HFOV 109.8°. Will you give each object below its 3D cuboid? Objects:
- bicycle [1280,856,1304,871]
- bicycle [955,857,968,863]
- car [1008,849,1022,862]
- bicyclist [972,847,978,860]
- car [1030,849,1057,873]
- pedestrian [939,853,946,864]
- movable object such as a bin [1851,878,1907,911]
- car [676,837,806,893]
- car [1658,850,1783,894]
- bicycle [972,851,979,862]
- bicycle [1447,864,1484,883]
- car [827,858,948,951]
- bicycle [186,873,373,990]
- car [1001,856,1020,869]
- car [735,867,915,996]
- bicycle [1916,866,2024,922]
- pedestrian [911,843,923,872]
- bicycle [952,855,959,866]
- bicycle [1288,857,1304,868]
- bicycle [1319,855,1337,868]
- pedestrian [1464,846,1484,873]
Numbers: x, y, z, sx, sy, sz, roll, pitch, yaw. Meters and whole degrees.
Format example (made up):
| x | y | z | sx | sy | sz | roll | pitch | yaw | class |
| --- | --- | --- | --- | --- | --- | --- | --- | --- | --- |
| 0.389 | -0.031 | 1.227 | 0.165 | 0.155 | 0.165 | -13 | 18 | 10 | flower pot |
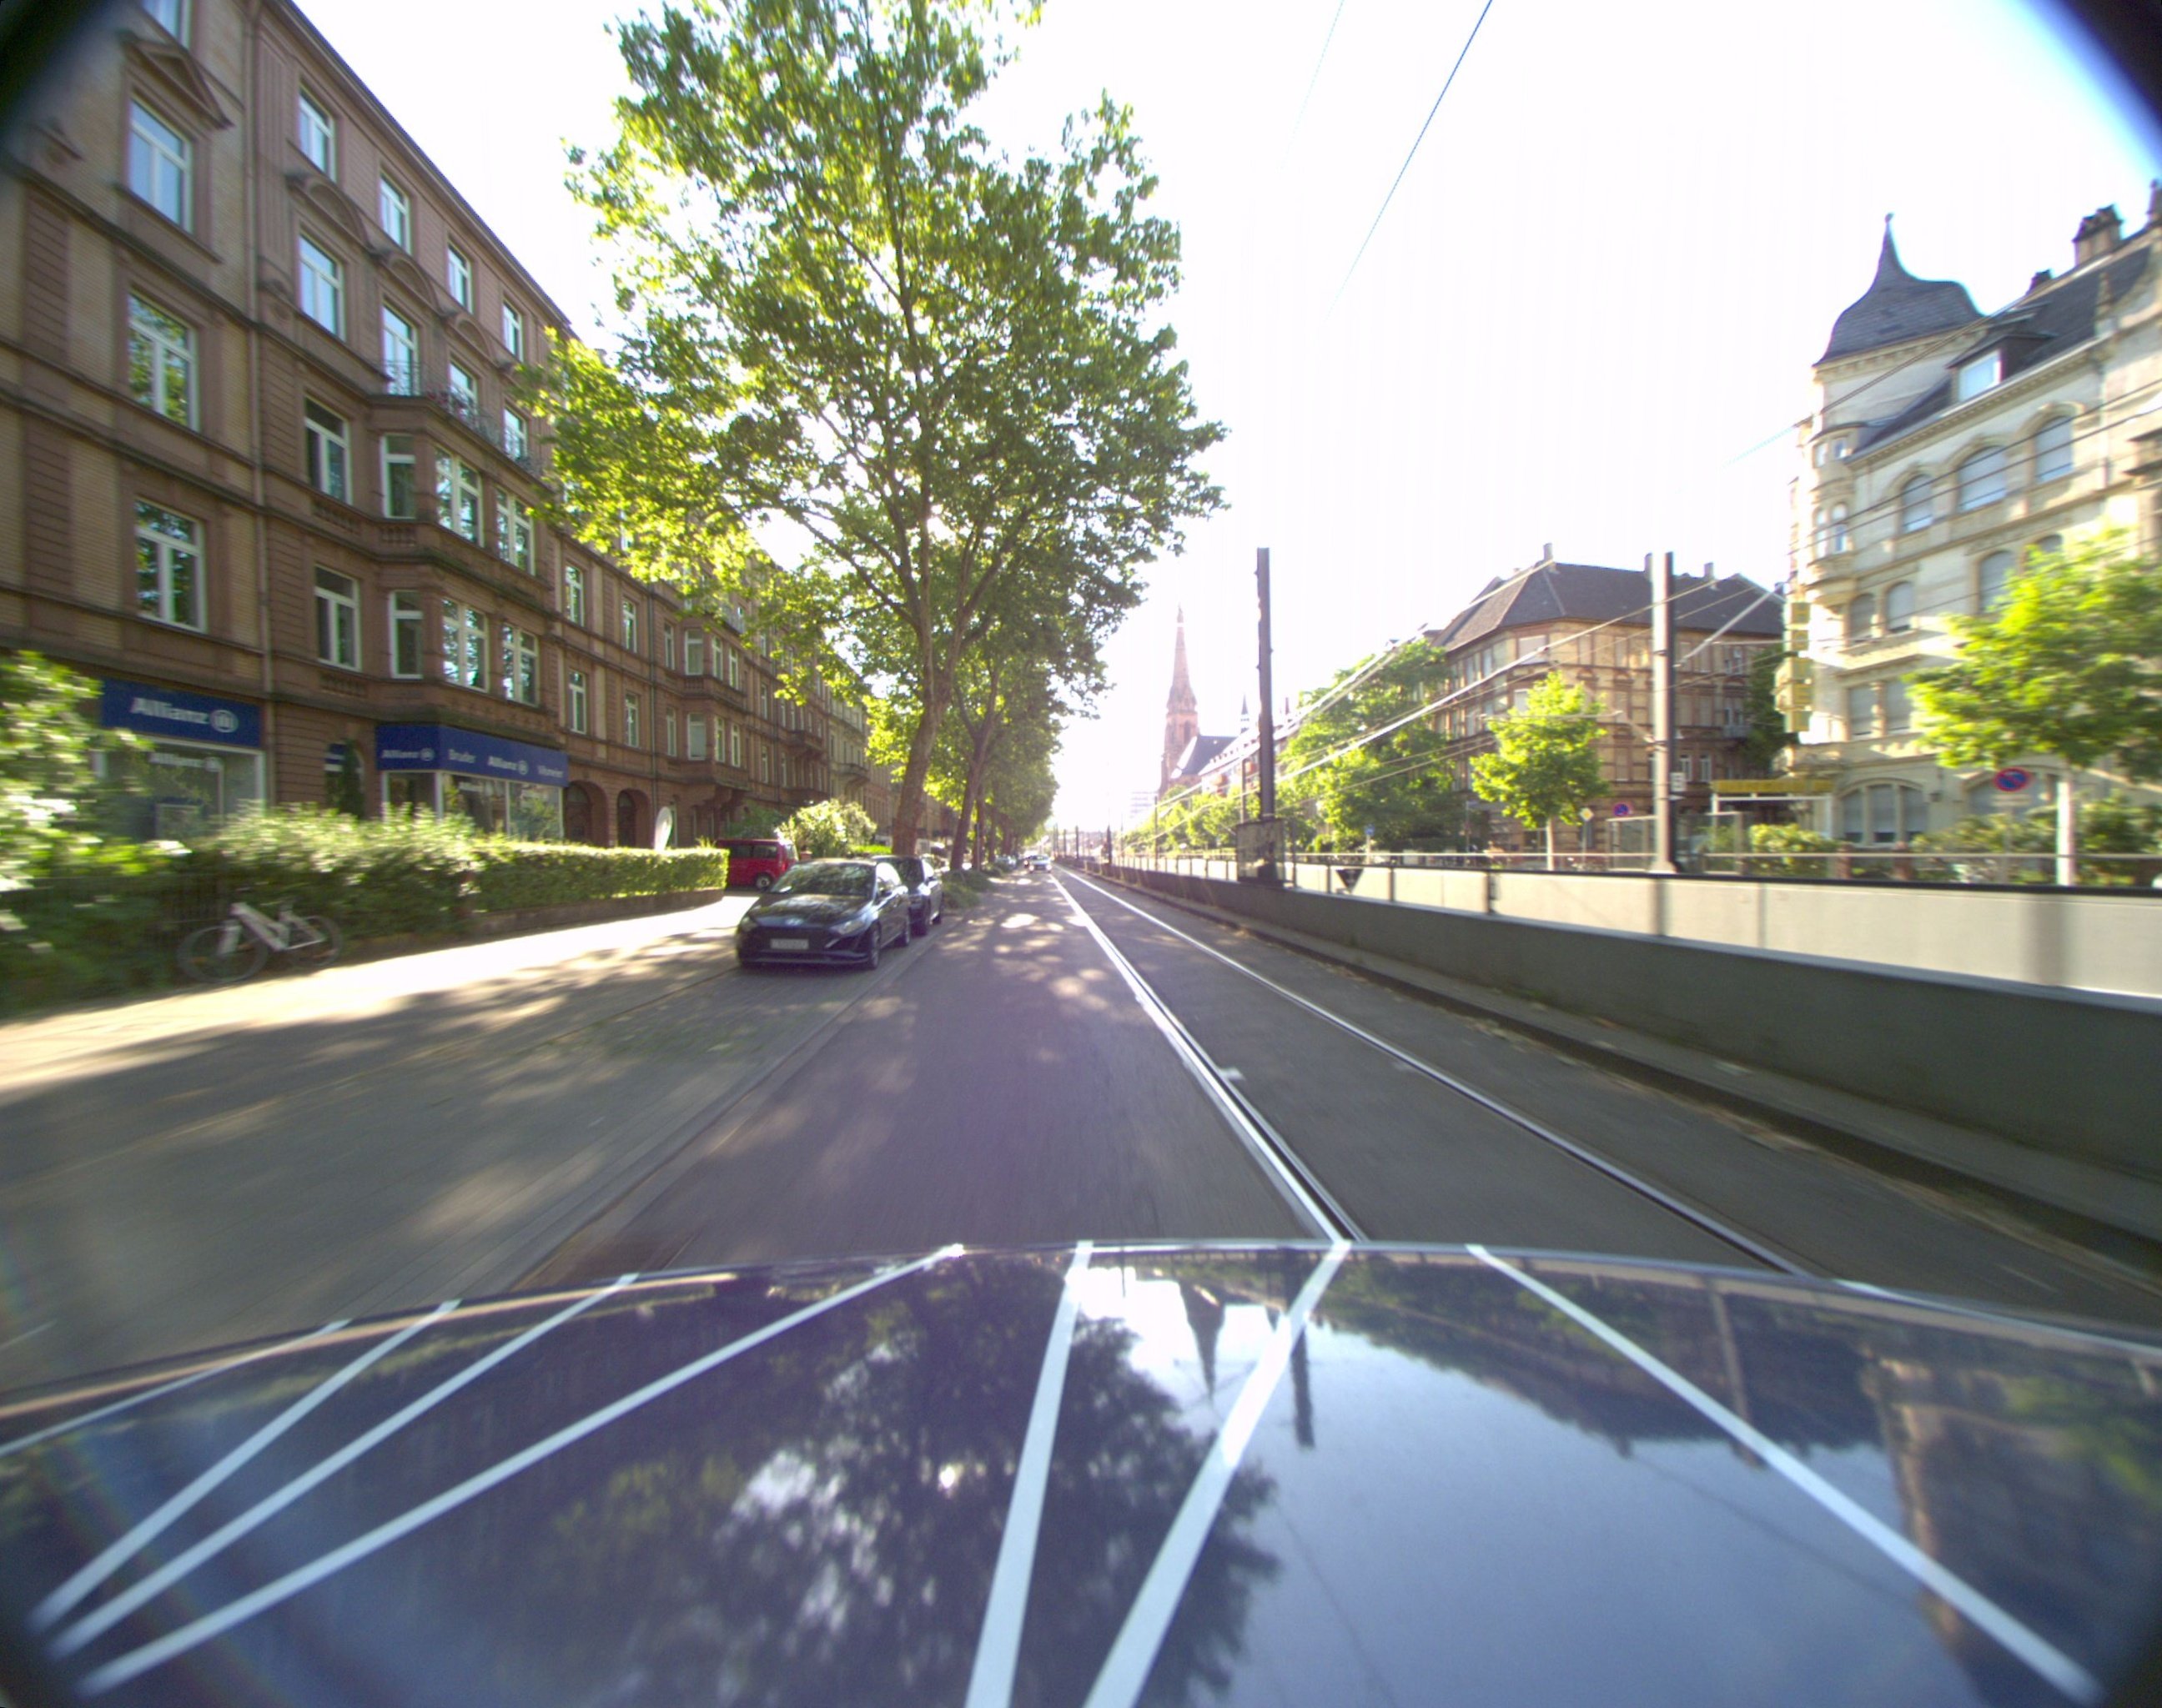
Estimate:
| x | y | z | sx | sy | sz | roll | pitch | yaw | class |
| --- | --- | --- | --- | --- | --- | --- | --- | --- | --- |
| 18.039 | 0.816 | 64.900 | 2.379 | 1.092 | 0.556 | -3 | 1 | -33 | bicycle |
| -16.385 | 0.830 | 104.164 | 1.697 | 0.911 | 0.602 | 0 | 1 | -15 | bicycle |
| -10.160 | 0.292 | 117.384 | 1.999 | 2.002 | 5.200 | 0 | 0 | -5 | car |
| -11.157 | -0.047 | 80.190 | 0.544 | 1.372 | 0.644 | -3 | 0 | -5 | bicyclist |
| -2.963 | 0.533 | 60.243 | 1.823 | 1.728 | 4.000 | -2 | 0 | 1 | car |
| -15.858 | 0.515 | 86.738 | 0.715 | 1.292 | 0.662 | -1 | 1 | -4 | pedestrian |
| 24.108 | 1.214 | 22.974 | 0.899 | 0.914 | 0.783 | -3 | 1 | -9 | movable object such as a bin |
| -13.216 | 0.416 | 29.756 | 4.188 | 2.002 | 1.999 | 2 | 0 | -5 | car |
| 26.055 | 0.692 | 31.013 | 4.001 | 1.615 | 1.823 | -2 | 0 | -12 | car |
| -11.131 | 0.269 | 80.089 | 0.562 | 1.171 | 2.225 | -3 | 1 | -5 | bicycle |
| 22.548 | 1.112 | 44.611 | 0.456 | 1.000 | 1.938 | -3 | 4 | -34 | bicycle |
| -3.792 | 0.913 | 15.581 | 1.621 | 1.578 | 4.415 | 1 | 0 | -4 | car |
| -9.778 | 0.893 | 9.377 | 0.338 | 1.242 | 1.767 | -3 | 0 | 1 | bicycle |
| -7.350 | 0.853 | 79.963 | 1.835 | 1.319 | 3.998 | -1 | 0 | -3 | car |
| -3.573 | 0.985 | 11.331 | 1.556 | 1.490 | 4.048 | 1 | 0 | -4 | car |
| 20.731 | 0.926 | 17.744 | 1.735 | 1.272 | 0.599 | 0 | 1 | 3 | bicycle |
| -11.363 | 0.270 | 52.632 | 0.674 | 2.002 | 0.633 | 0 | 1 | -4 | pedestrian |
| -13.763 | 0.739 | 83.239 | 0.476 | 1.137 | 1.895 | 2 | 0 | -3 | bicycle |
| 18.168 | 0.705 | 64.290 | 1.271 | 0.900 | 0.538 | -3 | 1 | -33 | bicycle |
| 20.921 | 0.625 | 64.392 | 0.557 | 1.092 | 2.375 | -3 | 0 | -3 | bicycle |
| 24.882 | 0.323 | 48.115 | 0.720 | 1.679 | 0.864 | -3 | 1 | 2 | pedestrian |
